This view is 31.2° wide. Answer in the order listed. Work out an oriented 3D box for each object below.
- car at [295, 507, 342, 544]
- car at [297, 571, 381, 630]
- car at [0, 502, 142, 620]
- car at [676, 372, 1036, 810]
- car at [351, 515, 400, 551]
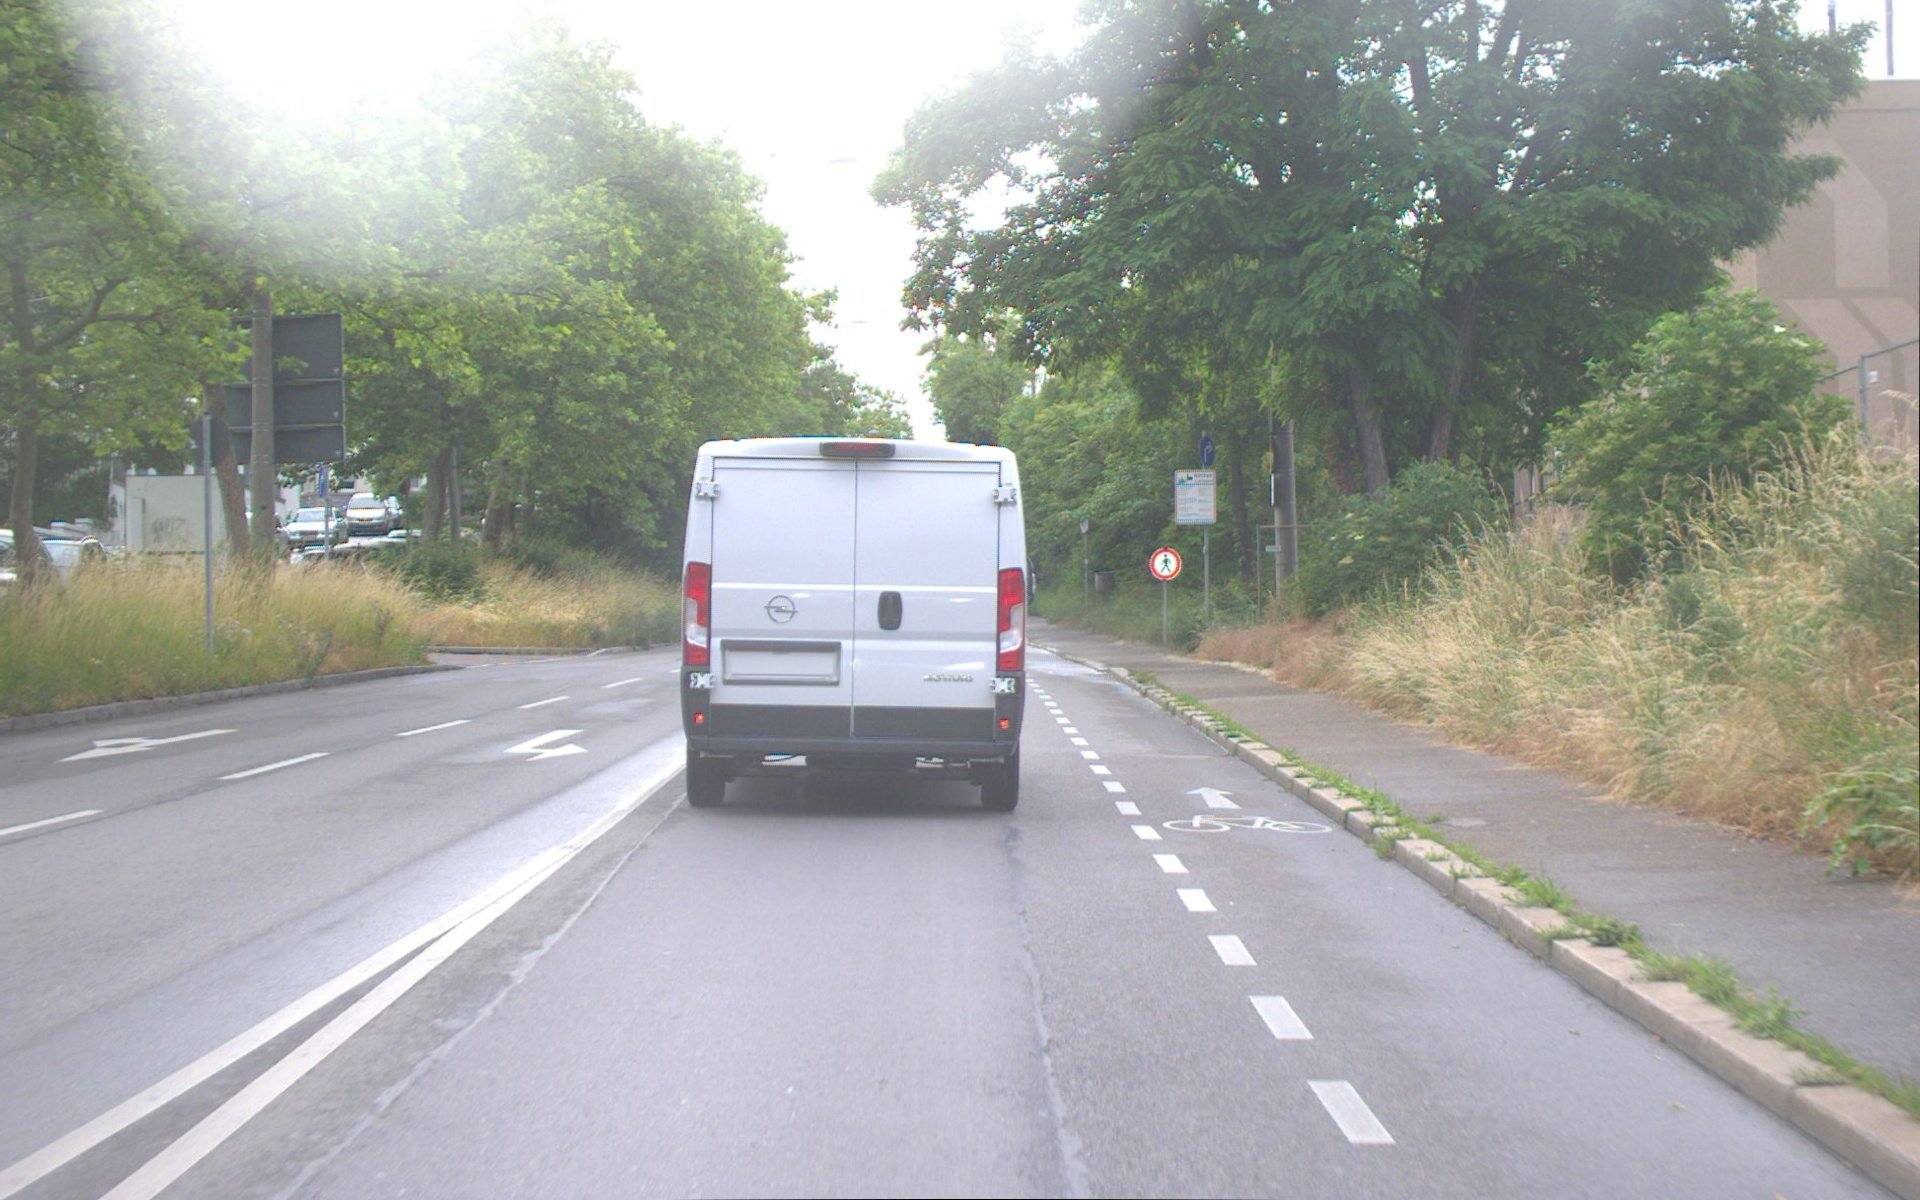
[{"bbox_3d":[-22.118,-2.557,118.535,1.213,1.129,2.452,-1,-1,-1],"label":"car"},{"bbox_3d":[-12.836,0.023,71.163,1.350,1.127,2.753,-1,-1,-3],"label":"car"},{"bbox_3d":[-11.544,-0.446,42.973,1.537,1.289,4.544,-1,-1,0],"label":"car"},{"bbox_3d":[-0.634,-0.106,22.372,2.050,2.508,4.944,1,1,-1],"label":"car"},{"bbox_3d":[-22.916,-2.628,134.818,1.599,1.246,2.911,-1,-1,-4],"label":"car"}]
